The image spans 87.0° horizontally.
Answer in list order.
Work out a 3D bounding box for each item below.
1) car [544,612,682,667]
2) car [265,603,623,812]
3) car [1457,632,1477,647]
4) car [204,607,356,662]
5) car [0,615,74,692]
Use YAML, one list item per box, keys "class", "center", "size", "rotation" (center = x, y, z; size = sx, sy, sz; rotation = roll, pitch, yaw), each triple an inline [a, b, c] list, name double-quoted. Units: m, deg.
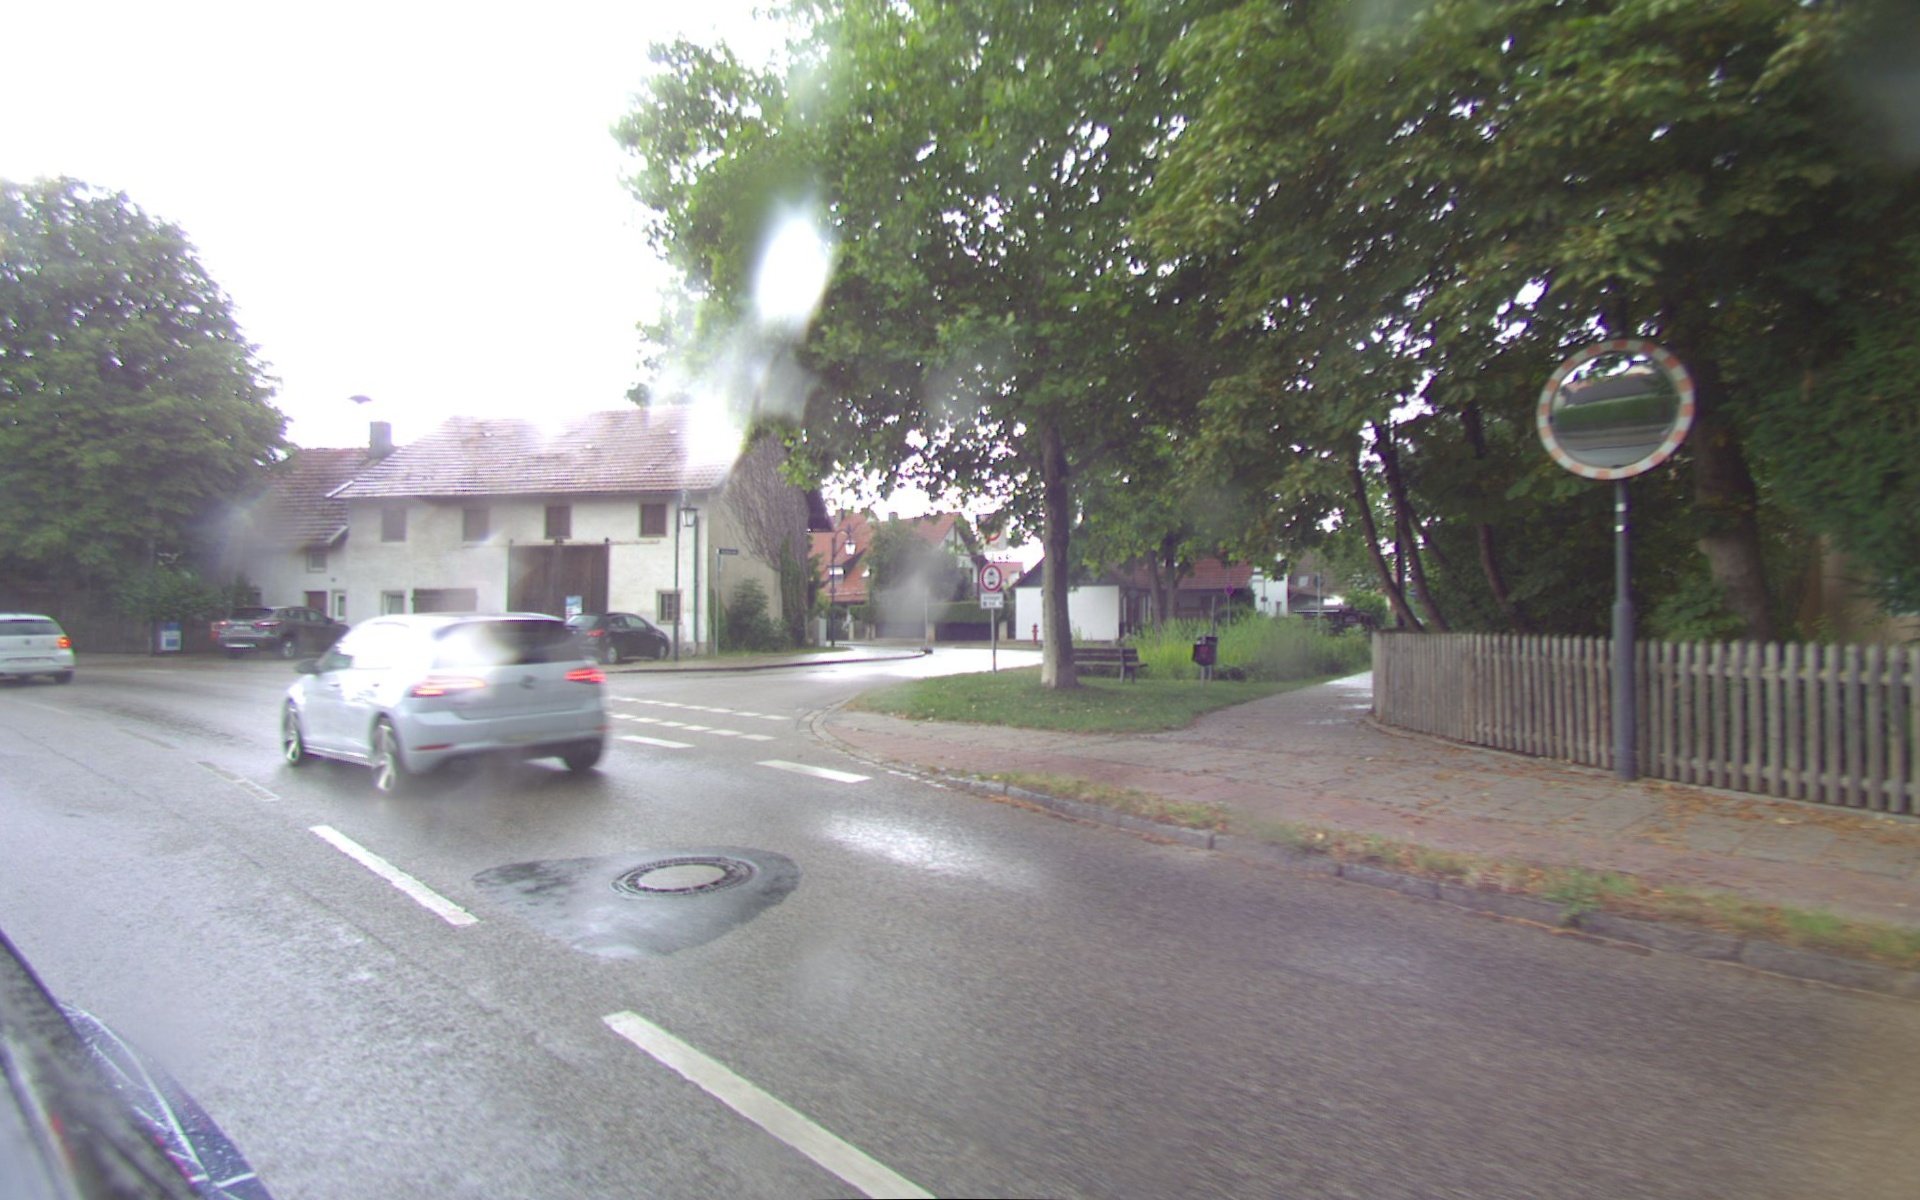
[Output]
- class: "car"
  center: [-9.846, 1.076, 29.097]
  size: [1.803, 1.447, 4.263]
  rotation: [0, -1, 13]
- class: "car"
  center: [-4.824, 0.767, 9.190]
  size: [4.001, 1.453, 1.697]
  rotation: [0, 1, 44]
- class: "car"
  center: [55.683, 4.302, 111.125]
  size: [1.990, 1.453, 3.963]
  rotation: [0, 1, 27]
- class: "car"
  center: [-20.484, 1.070, 30.737]
  size: [1.792, 1.560, 4.282]
  rotation: [0, -3, -1]
- class: "car"
  center: [-20.026, 1.063, 20.952]
  size: [3.659, 1.455, 1.605]
  rotation: [0, 0, 33]
